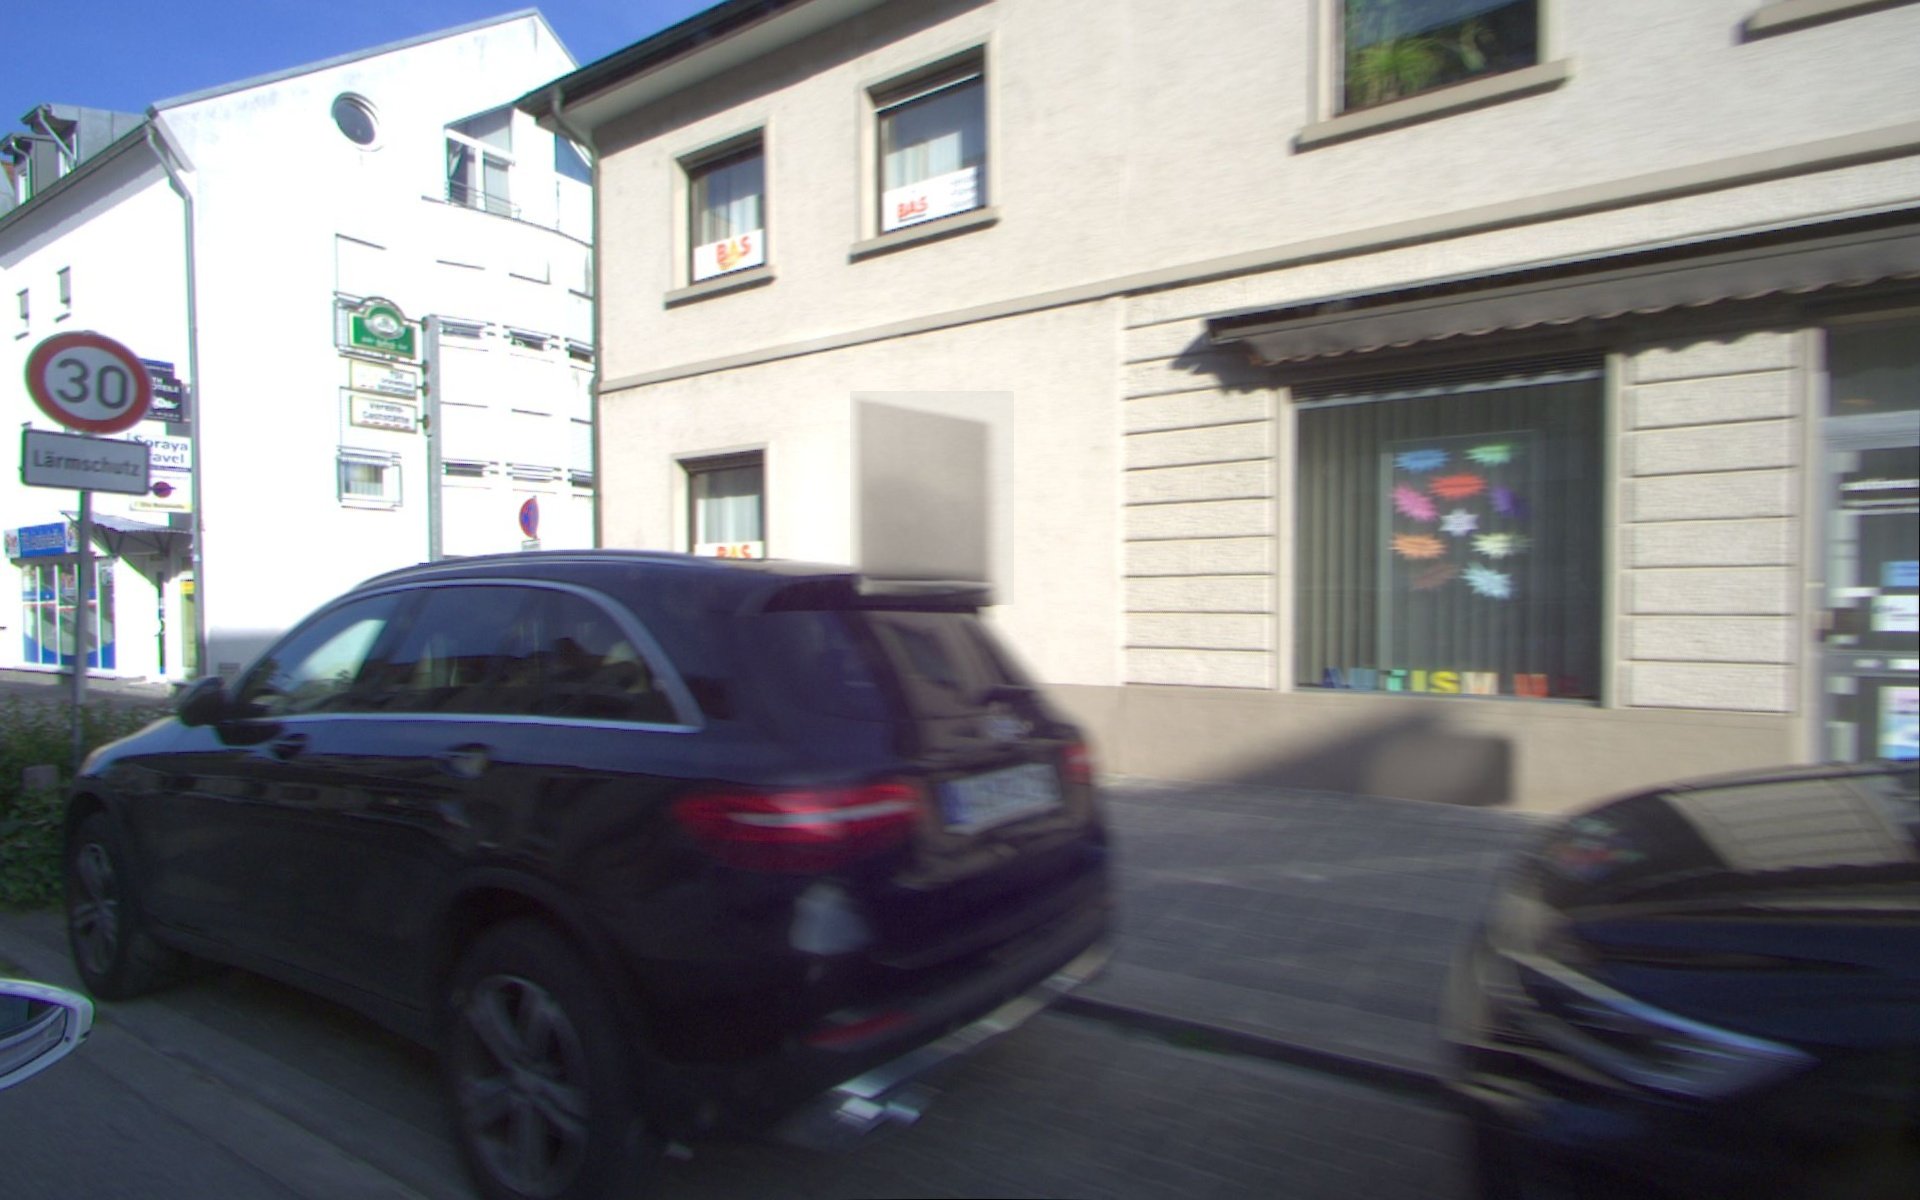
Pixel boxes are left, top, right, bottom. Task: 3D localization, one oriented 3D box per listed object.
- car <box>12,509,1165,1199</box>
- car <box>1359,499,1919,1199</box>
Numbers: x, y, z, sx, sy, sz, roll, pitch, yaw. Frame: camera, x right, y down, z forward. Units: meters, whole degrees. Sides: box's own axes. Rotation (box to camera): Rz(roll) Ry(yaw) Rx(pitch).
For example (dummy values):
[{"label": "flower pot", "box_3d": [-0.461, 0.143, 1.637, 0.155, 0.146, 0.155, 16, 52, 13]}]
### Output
[{"label": "car", "box_3d": [-1.647, 0.671, 3.783, 4.400, 1.652, 1.825, 0, 1, 33]}, {"label": "car", "box_3d": [2.937, 0.636, 1.309, 4.255, 1.581, 1.826, 0, 1, 32]}]
